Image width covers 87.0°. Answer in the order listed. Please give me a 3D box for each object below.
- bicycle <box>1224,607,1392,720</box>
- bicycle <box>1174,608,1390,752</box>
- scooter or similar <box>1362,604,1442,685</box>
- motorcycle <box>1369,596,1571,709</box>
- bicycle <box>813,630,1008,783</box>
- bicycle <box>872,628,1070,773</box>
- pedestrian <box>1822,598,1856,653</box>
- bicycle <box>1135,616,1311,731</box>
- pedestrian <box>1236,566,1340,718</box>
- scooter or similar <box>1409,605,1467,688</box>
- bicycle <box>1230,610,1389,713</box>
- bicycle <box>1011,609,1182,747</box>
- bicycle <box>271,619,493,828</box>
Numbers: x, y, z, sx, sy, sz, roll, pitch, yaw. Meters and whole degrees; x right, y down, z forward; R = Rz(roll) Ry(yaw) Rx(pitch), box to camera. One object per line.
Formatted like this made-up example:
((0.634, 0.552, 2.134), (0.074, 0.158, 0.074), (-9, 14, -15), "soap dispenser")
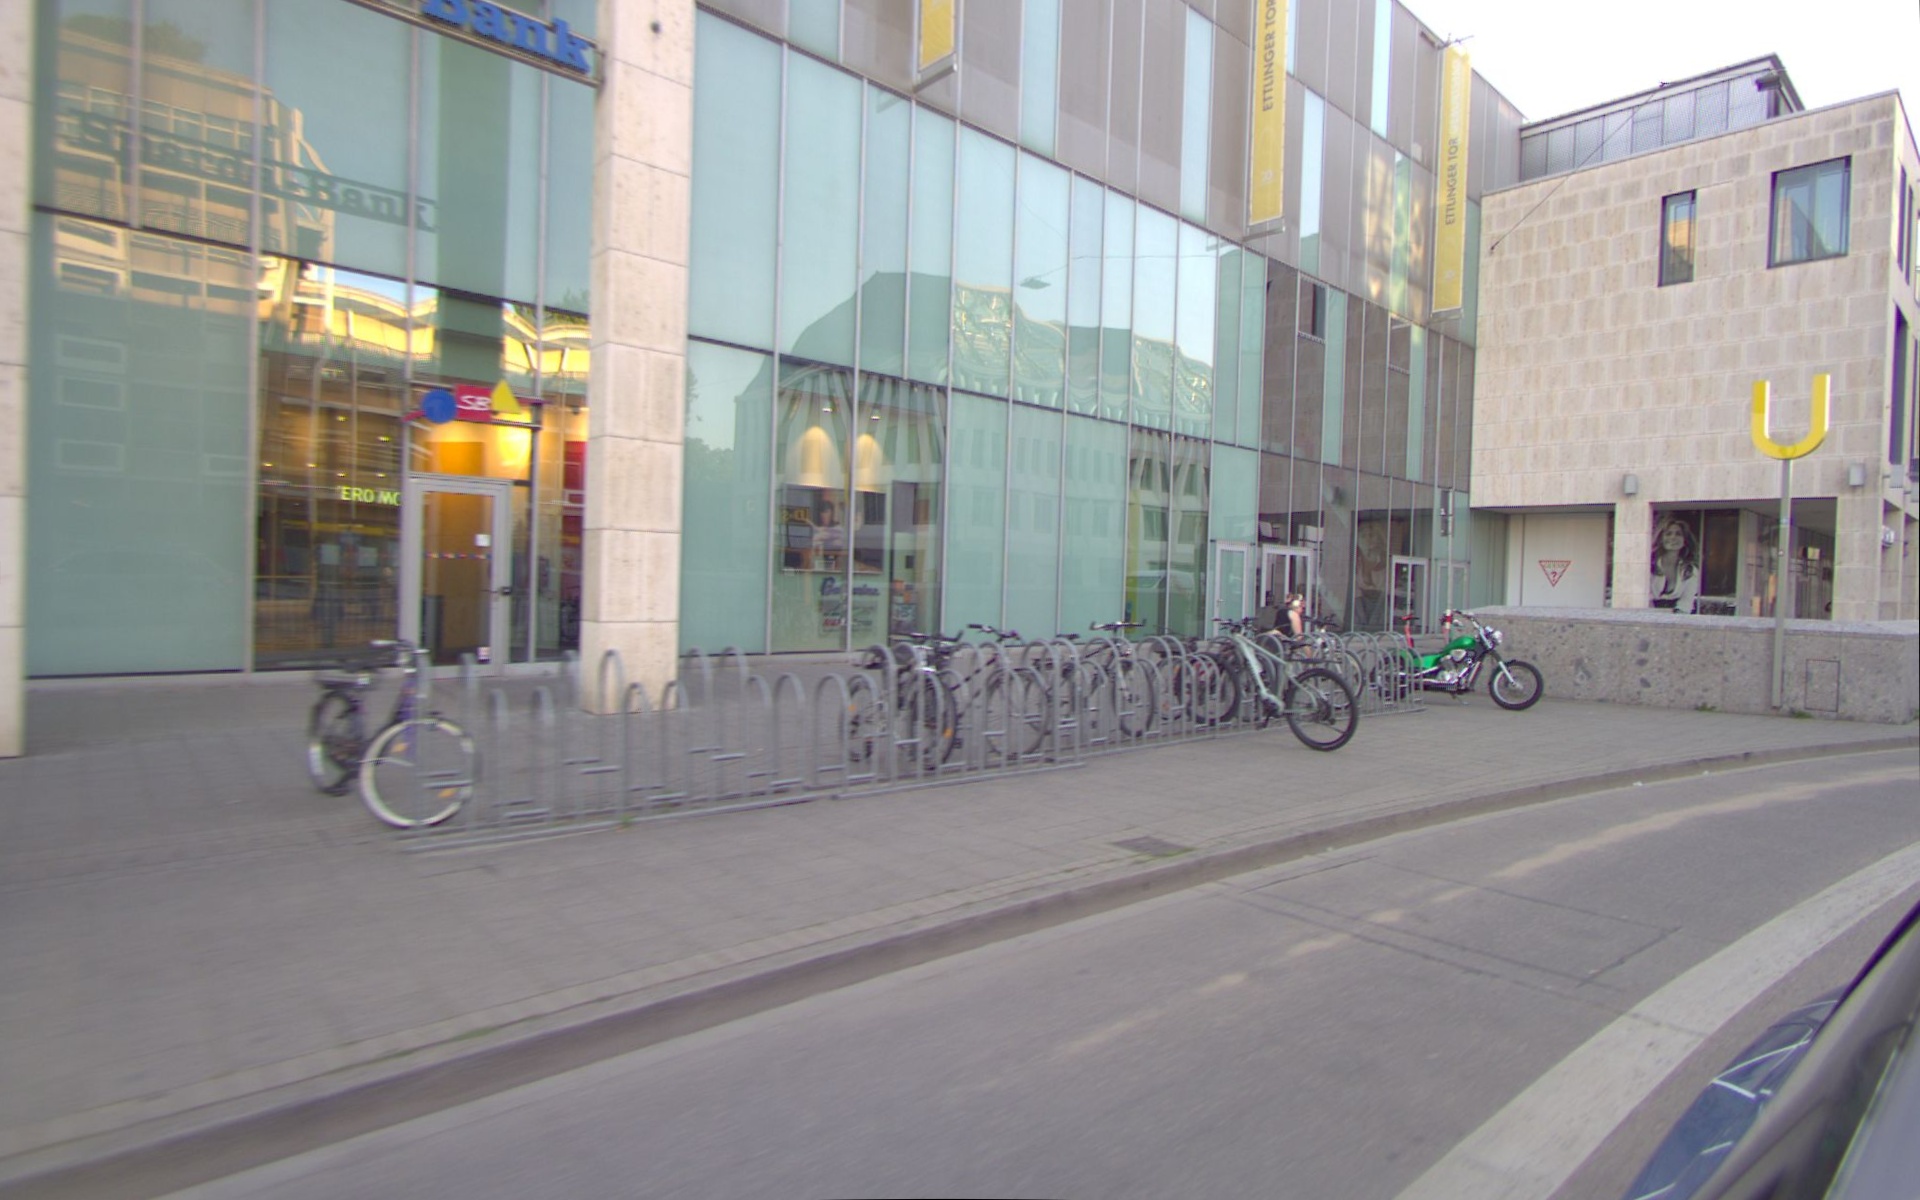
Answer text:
((4.249, 0.736, 12.518), (0.507, 1.193, 1.994), (1, 2, -36), "bicycle")
((3.007, 0.693, 9.662), (0.560, 1.143, 1.994), (1, 2, -36), "bicycle")
((7.234, 0.721, 16.588), (1.099, 1.273, 0.398), (1, 1, 11), "scooter or similar")
((6.975, 0.662, 13.952), (0.892, 1.349, 2.301), (0, 2, -44), "motorcycle")
((-0.430, 0.770, 7.892), (0.507, 0.948, 1.741), (1, 2, -42), "bicycle")
((0.045, 0.766, 8.302), (0.507, 0.948, 1.810), (1, 2, -42), "bicycle")
((26.398, 0.772, 30.399), (0.762, 1.587, 0.634), (3, 0, -43), "pedestrian")
((2.845, 0.757, 11.181), (0.545, 1.144, 1.993), (1, -1, -36), "bicycle")
((3.999, 0.479, 12.352), (0.803, 1.757, 0.839), (1, 1, -34), "pedestrian")
((7.611, 0.733, 16.106), (0.852, 1.273, 0.399), (1, 1, -31), "scooter or similar")
((4.482, 0.748, 13.134), (0.507, 1.143, 1.994), (1, 2, -36), "bicycle")
((1.278, 0.701, 9.849), (0.507, 1.143, 1.770), (1, 2, -38), "bicycle")
((-3.621, 0.689, 6.280), (1.699, 1.036, 0.592), (3, 2, 38), "bicycle")
